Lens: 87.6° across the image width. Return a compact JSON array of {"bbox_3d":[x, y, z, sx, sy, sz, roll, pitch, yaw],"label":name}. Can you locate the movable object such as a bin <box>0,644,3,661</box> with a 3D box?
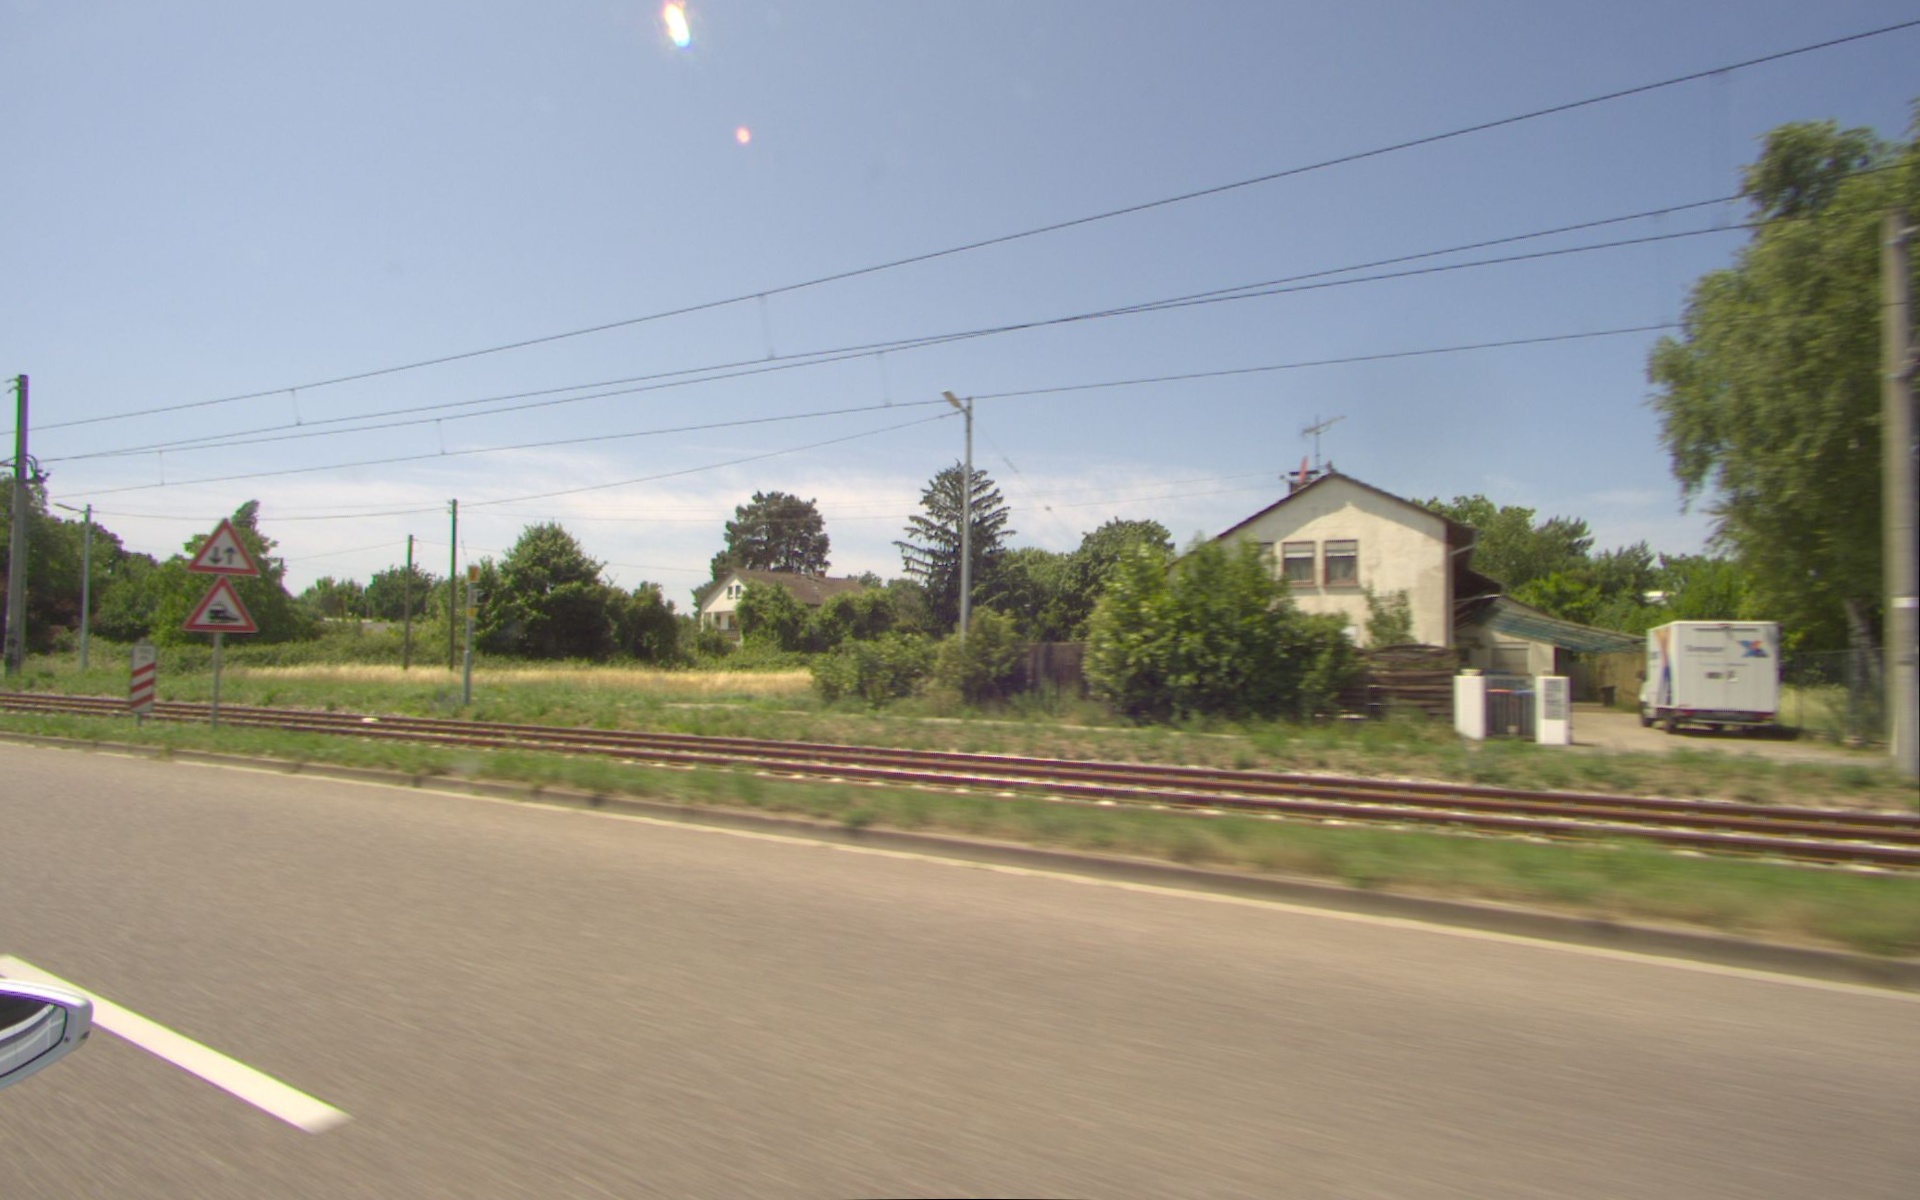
[{"bbox_3d":[-58.302,3.166,60.647,0.494,1.063,0.446,-1,-3,42],"label":"movable object such as a bin"}]

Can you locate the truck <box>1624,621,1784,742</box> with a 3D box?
[{"bbox_3d":[19.906,2.100,27.121,2.282,2.879,5.844,-1,-3,25],"label":"truck"}]

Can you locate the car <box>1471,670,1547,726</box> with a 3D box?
[{"bbox_3d":[16.478,2.907,30.205,1.654,1.528,3.439,0,-4,23],"label":"car"}]
